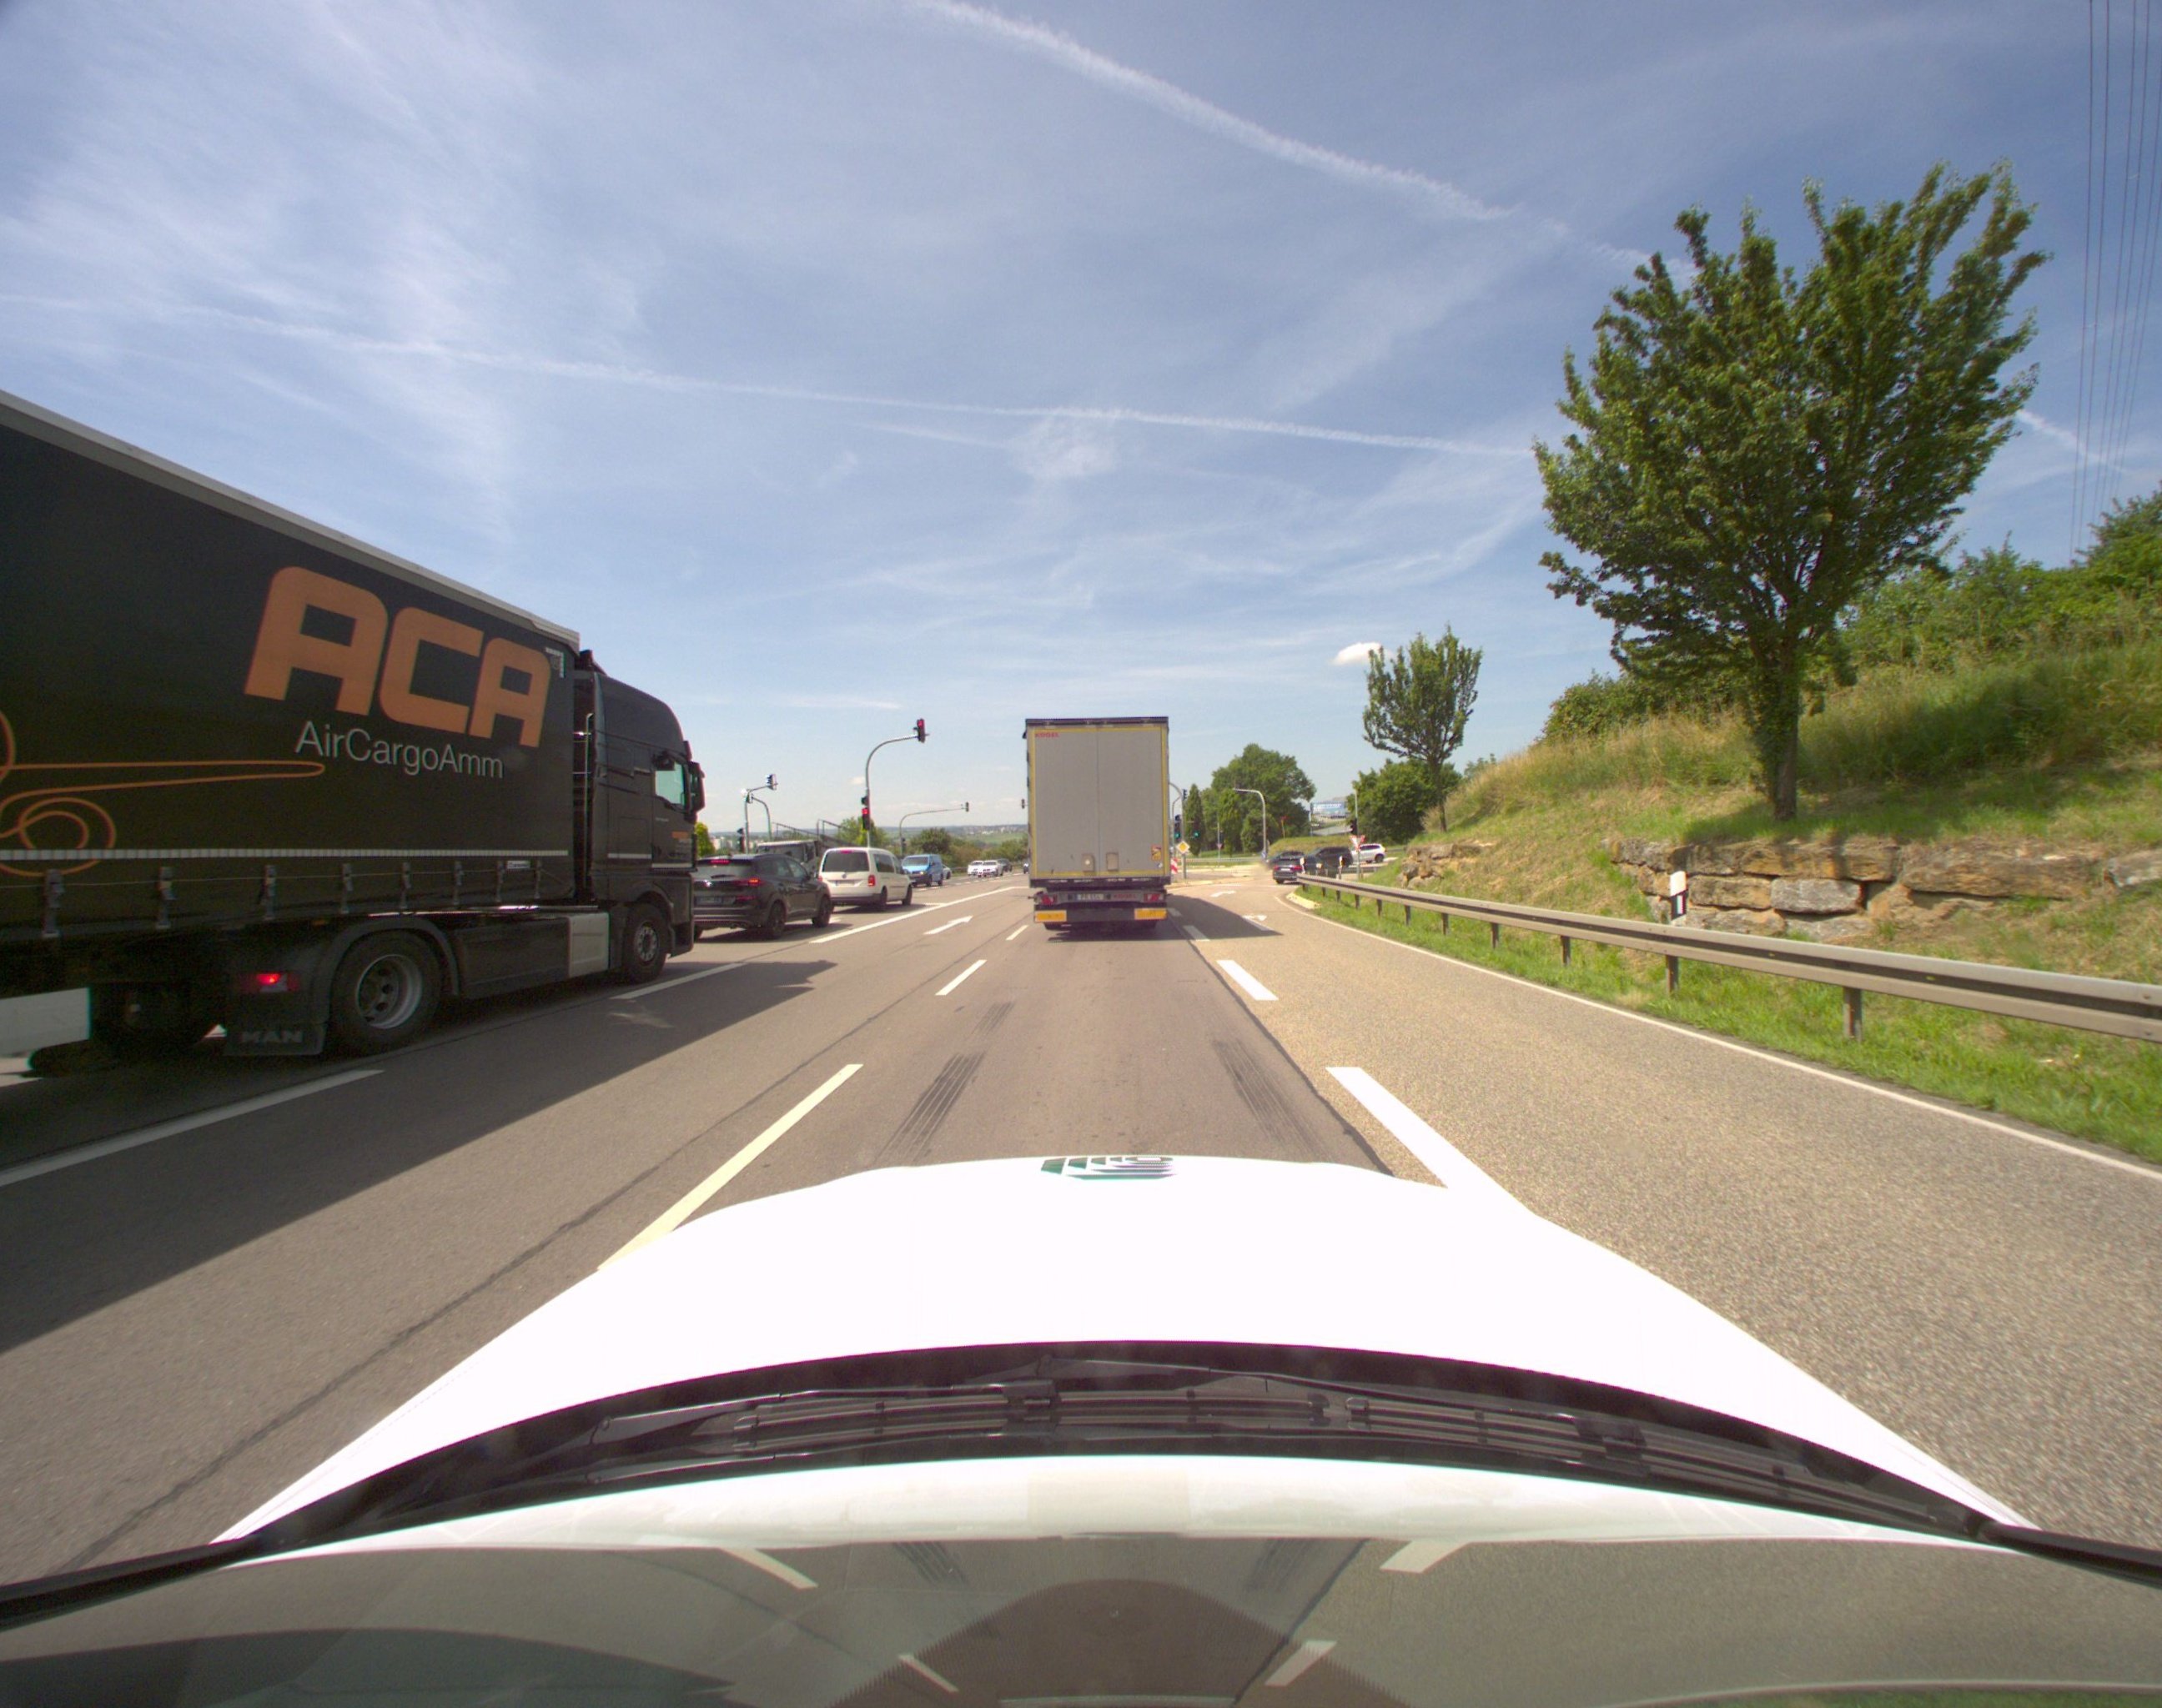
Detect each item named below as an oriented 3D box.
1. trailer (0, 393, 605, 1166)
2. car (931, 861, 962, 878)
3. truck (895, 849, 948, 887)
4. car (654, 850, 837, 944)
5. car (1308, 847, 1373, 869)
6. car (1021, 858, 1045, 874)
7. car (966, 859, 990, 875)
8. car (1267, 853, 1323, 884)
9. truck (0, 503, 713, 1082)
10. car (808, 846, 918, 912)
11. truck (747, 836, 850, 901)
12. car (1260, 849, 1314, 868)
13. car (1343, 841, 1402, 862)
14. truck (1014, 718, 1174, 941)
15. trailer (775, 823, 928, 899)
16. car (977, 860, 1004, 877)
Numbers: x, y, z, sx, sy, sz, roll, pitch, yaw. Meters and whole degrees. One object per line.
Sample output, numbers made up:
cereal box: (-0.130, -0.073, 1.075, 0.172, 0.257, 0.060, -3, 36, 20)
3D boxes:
trailer: (-6.899, -0.376, 2.221, 2.773, 3.913, 13.790, -1, 0, 1)
car: (-12.207, 1.400, 74.198, 1.620, 1.460, 4.500, -1, -1, 5)
truck: (-9.719, 0.870, 49.917, 1.958, 2.157, 4.628, -2, -1, 4)
car: (-6.679, 0.773, 16.791, 1.849, 1.657, 4.350, -1, 0, 1)
car: (19.499, 0.287, 61.225, 4.356, 1.510, 1.711, -2, -1, -8)
car: (-4.630, 1.144, 79.155, 1.747, 1.469, 4.200, 0, -1, 4)
car: (-10.725, 1.325, 84.790, 1.637, 1.497, 3.806, -3, -1, 4)
car: (11.288, 0.733, 42.692, 1.729, 1.532, 4.325, -1, -1, 30)
truck: (-6.734, -0.417, 8.664, 2.773, 4.013, 5.972, -1, 0, 1)
car: (-6.471, 0.681, 24.783, 1.760, 1.798, 4.757, -1, 0, 4)
truck: (-14.213, 0.725, 41.457, 2.788, 3.013, 5.994, -2, -1, 3)
car: (17.033, 0.380, 67.387, 3.983, 1.510, 1.712, -2, -1, -7)
car: (24.674, -0.218, 69.023, 4.354, 1.592, 1.776, -2, -1, -7)
truck: (0.313, -0.411, 20.080, 2.789, 3.929, 11.342, -1, 0, 1)
trailer: (-13.520, 0.477, 51.215, 2.627, 3.763, 19.819, -2, -1, 4)
car: (-8.115, 1.315, 73.500, 1.765, 1.434, 4.002, -2, -1, 2)
